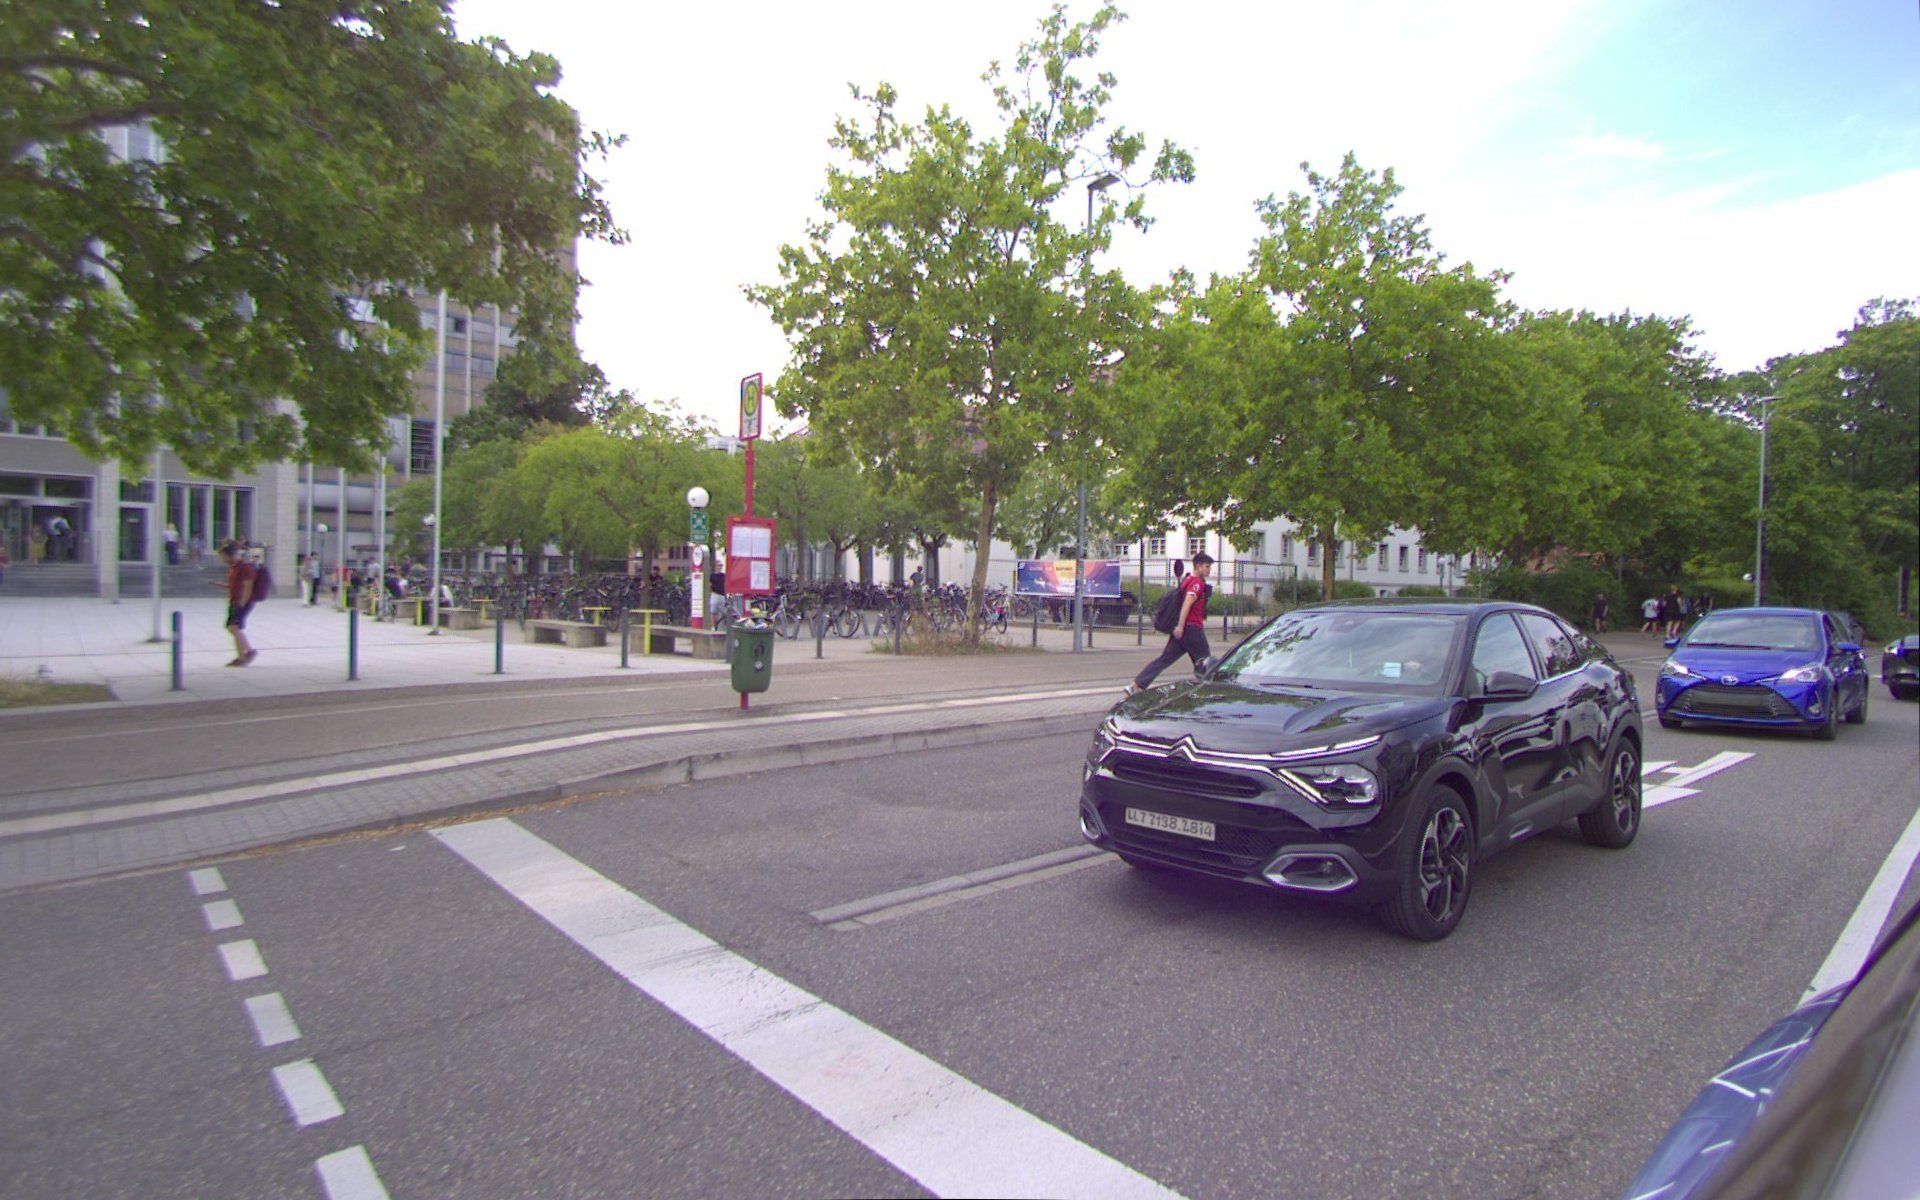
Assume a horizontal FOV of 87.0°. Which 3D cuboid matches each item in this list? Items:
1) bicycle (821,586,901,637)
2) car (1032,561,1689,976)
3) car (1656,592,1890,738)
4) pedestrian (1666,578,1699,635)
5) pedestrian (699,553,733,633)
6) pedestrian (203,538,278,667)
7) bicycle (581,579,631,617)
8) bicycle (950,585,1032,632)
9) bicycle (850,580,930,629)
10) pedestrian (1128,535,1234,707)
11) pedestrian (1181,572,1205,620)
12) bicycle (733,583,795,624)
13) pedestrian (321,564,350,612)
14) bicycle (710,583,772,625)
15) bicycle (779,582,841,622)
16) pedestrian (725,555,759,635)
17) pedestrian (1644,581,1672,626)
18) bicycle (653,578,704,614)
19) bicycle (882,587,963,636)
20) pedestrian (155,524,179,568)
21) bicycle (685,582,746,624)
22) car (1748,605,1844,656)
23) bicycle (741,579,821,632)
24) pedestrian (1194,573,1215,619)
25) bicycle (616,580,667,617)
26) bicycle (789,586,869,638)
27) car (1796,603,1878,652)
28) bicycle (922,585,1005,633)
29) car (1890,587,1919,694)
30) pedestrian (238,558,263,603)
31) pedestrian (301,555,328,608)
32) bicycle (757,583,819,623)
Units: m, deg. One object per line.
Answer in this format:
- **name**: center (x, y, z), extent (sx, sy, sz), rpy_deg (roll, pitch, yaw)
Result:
- **bicycle**: center (-2.471, 0.258, 24.983), extent (0.705, 1.156, 2.471), rpy_deg (0, 1, -40)
- **car**: center (2.515, 0.645, 5.863), extent (4.101, 1.576, 1.803), rpy_deg (0, 0, -40)
- **car**: center (10.167, 0.675, 12.569), extent (3.767, 1.512, 1.701), rpy_deg (0, 1, -42)
- **pedestrian**: center (25.501, 0.217, 35.726), extent (0.747, 1.958, 0.797), rpy_deg (0, 1, -42)
- **pedestrian**: center (-6.200, -0.174, 25.753), extent (0.675, 1.988, 0.601), rpy_deg (0, 0, 9)
- **pedestrian**: center (-10.597, 0.039, 14.917), extent (0.875, 1.827, 0.769), rpy_deg (0, 0, -37)
- **bicycle**: center (-11.341, -0.078, 32.386), extent (0.705, 1.156, 2.471), rpy_deg (0, 1, -40)
- **bicycle**: center (0.778, 0.206, 26.639), extent (0.705, 1.156, 2.471), rpy_deg (0, 1, -40)
- **bicycle**: center (-1.793, 0.090, 25.534), extent (0.705, 1.156, 2.471), rpy_deg (0, 1, -40)
- **pedestrian**: center (2.553, 0.219, 11.661), extent (1.047, 1.877, 0.726), rpy_deg (0, 1, -44)
- **pedestrian**: center (8.510, -0.149, 36.980), extent (0.584, 1.761, 0.586), rpy_deg (0, 1, -40)
- **bicycle**: center (-5.881, 0.096, 30.270), extent (0.705, 1.156, 2.471), rpy_deg (0, 1, -40)
- **pedestrian**: center (-21.253, -0.390, 34.443), extent (0.723, 1.617, 0.594), rpy_deg (0, -1, 36)
- **bicycle**: center (-6.469, 0.103, 29.773), extent (0.705, 1.156, 2.471), rpy_deg (0, 1, -40)
- **bicycle**: center (-4.663, 0.047, 31.337), extent (0.705, 1.156, 2.471), rpy_deg (0, 1, -40)
- **pedestrian**: center (-5.479, -0.128, 25.501), extent (0.675, 1.988, 0.601), rpy_deg (0, 0, 9)
- **pedestrian**: center (25.027, 0.124, 36.286), extent (0.791, 1.585, 0.645), rpy_deg (0, 1, -42)
- **bicycle**: center (-9.483, -0.159, 34.023), extent (0.705, 1.156, 2.471), rpy_deg (0, 1, -40)
- **bicycle**: center (-0.991, 0.272, 26.002), extent (0.705, 1.156, 2.471), rpy_deg (0, 1, -40)
- **pedestrian**: center (-32.128, -2.178, 41.020), extent (0.619, 1.736, 0.673), rpy_deg (0, 0, -24)
- **bicycle**: center (-7.088, 0.073, 29.238), extent (0.705, 1.156, 2.471), rpy_deg (0, 1, -40)
- **car**: center (25.194, 0.873, 30.464), extent (3.767, 1.386, 1.701), rpy_deg (0, 1, -42)
- **bicycle**: center (-4.209, 0.106, 23.644), extent (0.705, 1.156, 2.471), rpy_deg (0, 1, -40)
- **pedestrian**: center (9.477, -0.172, 39.283), extent (0.583, 1.775, 0.531), rpy_deg (0, 1, -37)
- **bicycle**: center (-10.455, -0.069, 33.160), extent (0.705, 1.156, 2.471), rpy_deg (0, 1, -40)
- **bicycle**: center (-3.185, 0.268, 24.410), extent (0.705, 1.156, 2.471), rpy_deg (0, 1, -40)
- **car**: center (28.880, 0.847, 33.301), extent (3.949, 1.481, 1.604), rpy_deg (0, 1, -42)
- **bicycle**: center (0.062, 0.215, 26.105), extent (0.705, 1.156, 2.471), rpy_deg (0, 1, -40)
- **car**: center (17.292, 0.651, 16.604), extent (4.554, 1.669, 1.907), rpy_deg (0, 1, -33)
- **pedestrian**: center (-26.456, -0.731, 37.732), extent (0.590, 1.661, 0.634), rpy_deg (0, 0, -18)
- **pedestrian**: center (-22.742, -0.649, 35.660), extent (0.723, 1.867, 0.595), rpy_deg (0, -1, 34)
- **bicycle**: center (-5.265, 0.074, 30.815), extent (0.705, 1.156, 2.471), rpy_deg (0, 1, -40)
